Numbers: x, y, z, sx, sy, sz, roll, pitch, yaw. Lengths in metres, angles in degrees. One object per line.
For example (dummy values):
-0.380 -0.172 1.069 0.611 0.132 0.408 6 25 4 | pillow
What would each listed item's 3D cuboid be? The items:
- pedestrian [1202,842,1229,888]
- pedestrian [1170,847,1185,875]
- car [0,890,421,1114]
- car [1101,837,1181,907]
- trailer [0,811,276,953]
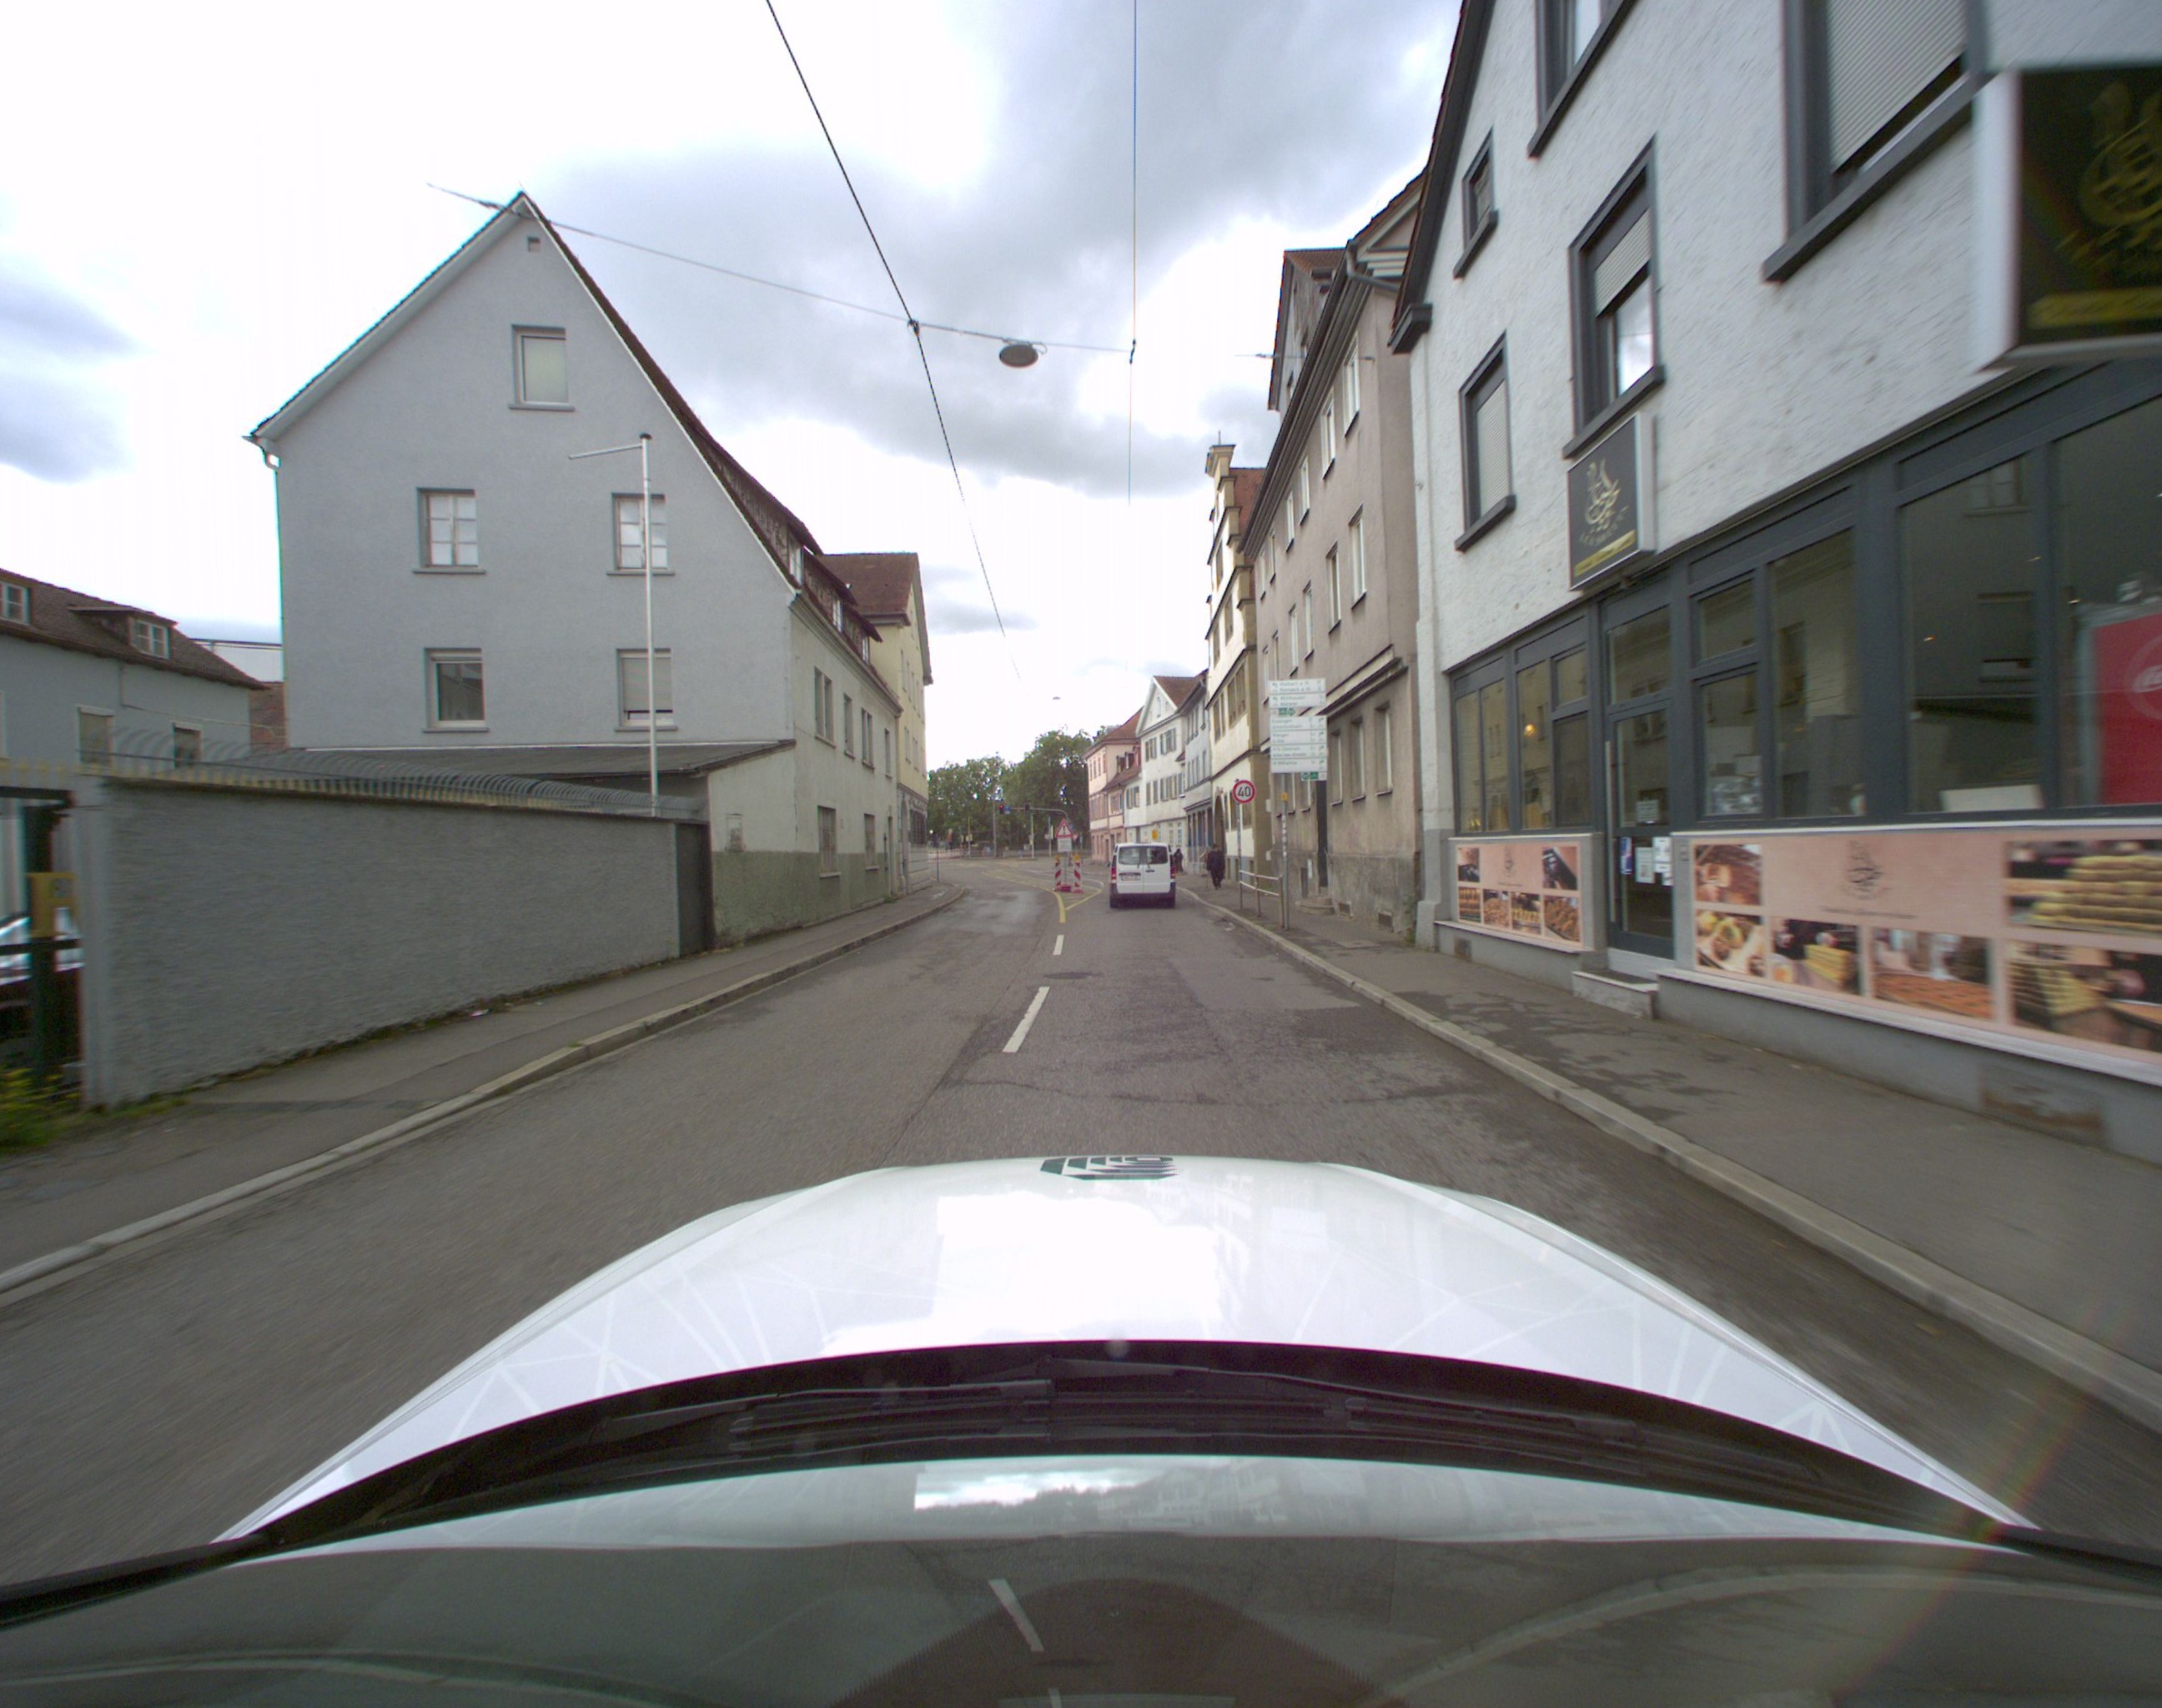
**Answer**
4.971 0.413 30.231 0.828 1.656 0.945 -2 0 3 | pedestrian
5.770 0.430 48.768 0.752 1.667 0.809 -2 0 2 | pedestrian
-7.940 1.060 6.621 1.836 1.296 4.251 -2 0 -4 | car
1.693 0.535 24.402 1.988 1.923 4.245 0 -1 -2 | car
-17.930 0.485 15.219 1.991 2.277 3.991 -2 0 -6 | trailer
